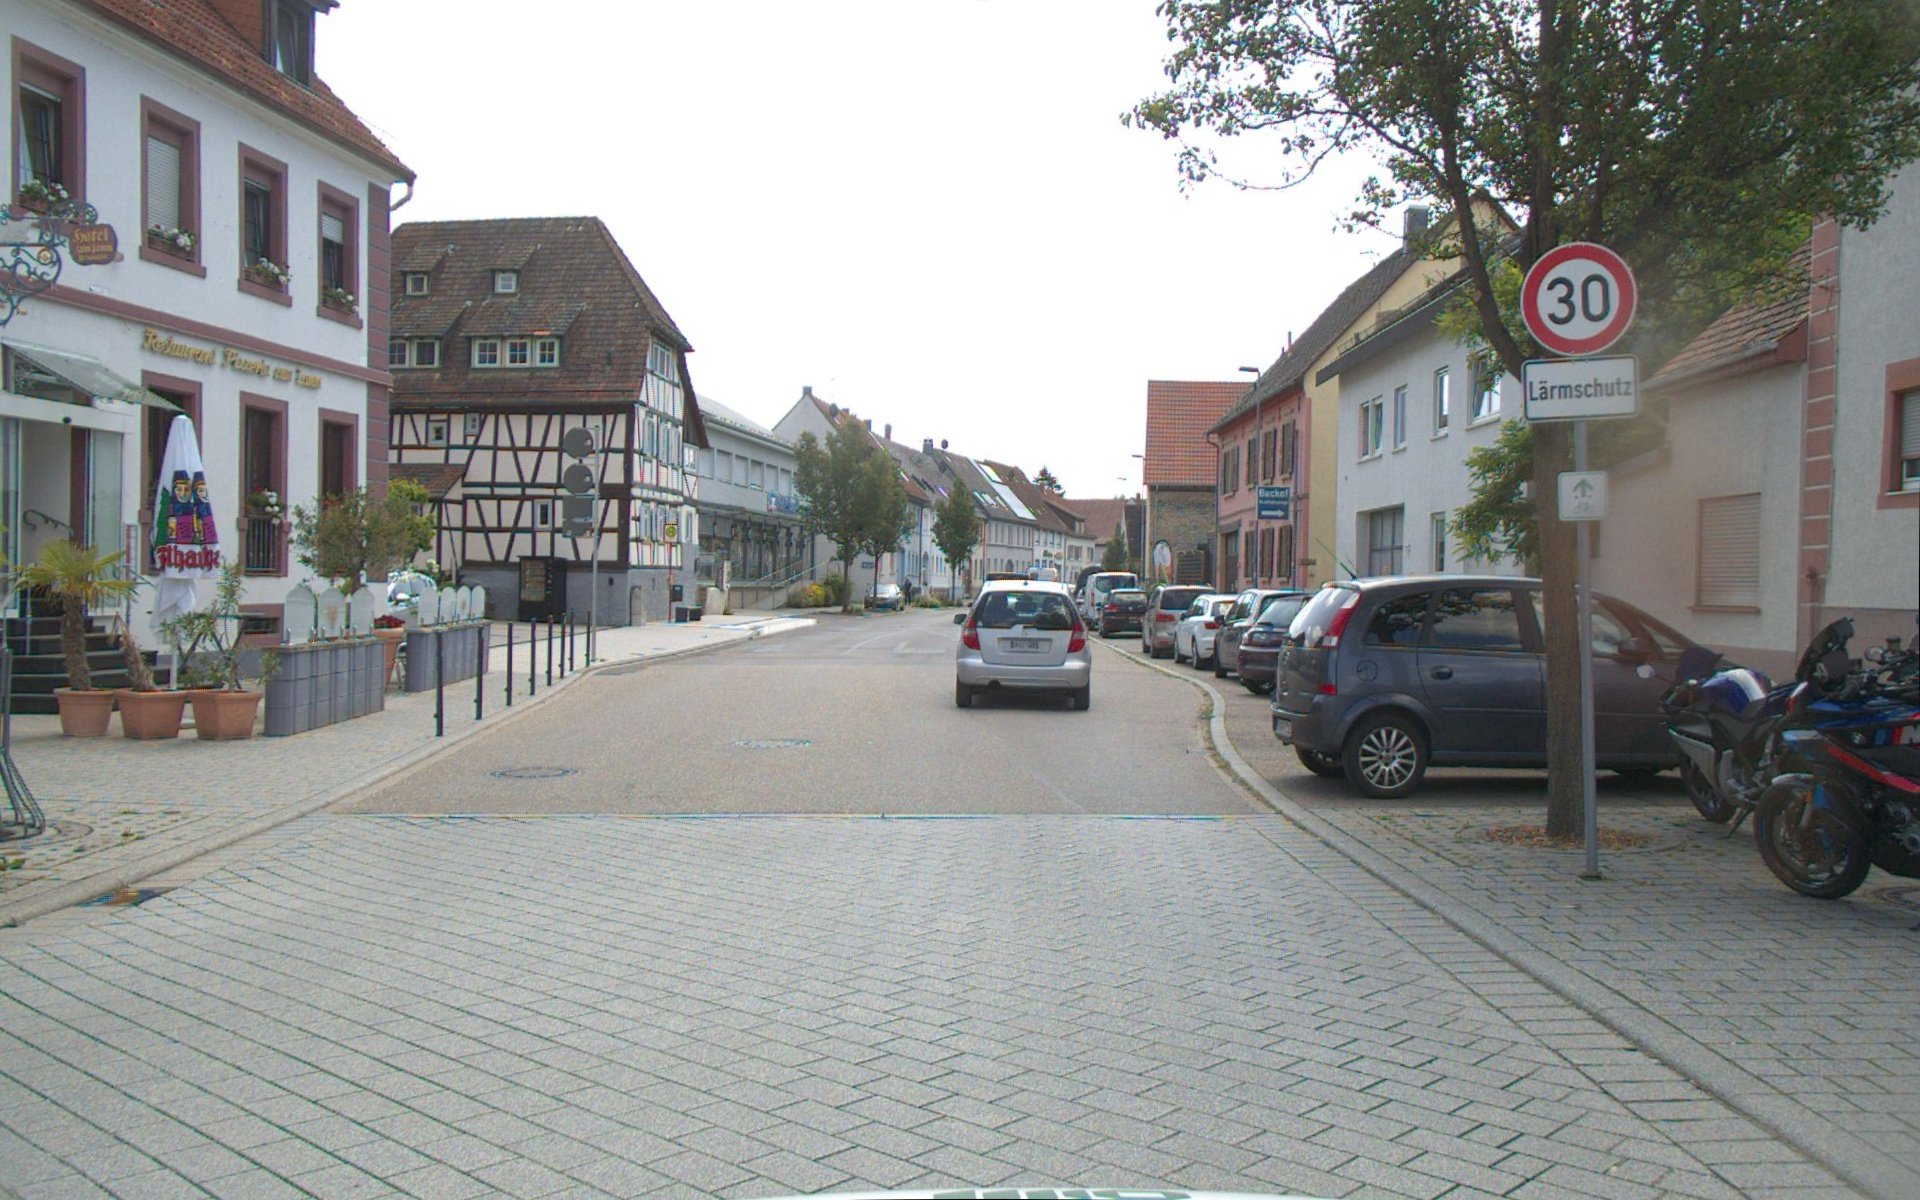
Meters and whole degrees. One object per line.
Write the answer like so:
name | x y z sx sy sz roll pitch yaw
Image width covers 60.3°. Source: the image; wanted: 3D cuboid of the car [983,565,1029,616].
car | 1.947 -0.379 68.654 1.732 1.920 4.448 3 0 3

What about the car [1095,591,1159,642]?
car | 5.256 0.483 52.464 1.738 1.521 4.163 0 1 2

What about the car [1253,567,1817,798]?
car | 4.373 0.589 13.002 3.770 1.605 1.850 -1 0 -2

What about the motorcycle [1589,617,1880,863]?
motorcycle | 4.672 0.780 10.175 0.616 1.321 2.181 0 0 -4

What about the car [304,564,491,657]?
car | -10.553 0.161 31.366 1.721 1.518 4.278 4 1 4

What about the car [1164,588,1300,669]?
car | 5.521 0.531 34.096 1.953 1.544 4.370 0 1 -2

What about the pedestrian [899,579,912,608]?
pedestrian | -3.387 -0.393 102.441 0.723 1.833 0.643 0 -1 3

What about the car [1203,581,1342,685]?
car | 5.321 0.511 28.663 1.628 1.652 4.272 0 1 1

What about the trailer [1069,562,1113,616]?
trailer | 5.927 -0.497 75.200 1.807 2.395 3.590 0 1 1

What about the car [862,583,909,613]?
car | -3.926 -0.134 88.141 1.766 1.486 4.161 1 1 7

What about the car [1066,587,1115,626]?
car | 5.519 0.253 70.194 1.836 1.507 4.676 1 1 2

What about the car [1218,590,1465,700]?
car | 5.667 0.623 24.586 3.188 1.531 1.811 0 1 -27

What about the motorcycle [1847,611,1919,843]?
motorcycle | 6.022 0.740 9.501 0.939 1.321 2.227 -1 0 9

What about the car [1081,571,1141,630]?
car | 5.450 -0.013 60.325 1.853 2.016 4.932 -2 0 2

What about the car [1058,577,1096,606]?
car | 6.629 -0.493 94.351 1.952 1.586 4.001 -1 1 1

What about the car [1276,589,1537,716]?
car | 5.801 0.640 21.574 2.740 1.531 1.866 0 1 -22

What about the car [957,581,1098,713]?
car | 0.890 0.570 22.402 1.732 1.622 4.001 0 0 2

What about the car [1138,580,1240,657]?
car | 5.359 0.395 39.167 1.952 1.710 4.324 0 0 2

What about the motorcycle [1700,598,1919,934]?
motorcycle | 4.508 0.711 7.206 0.866 1.419 2.189 0 1 -45

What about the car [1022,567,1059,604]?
car | 5.092 -0.886 103.982 2.189 2.261 4.002 0 0 4
